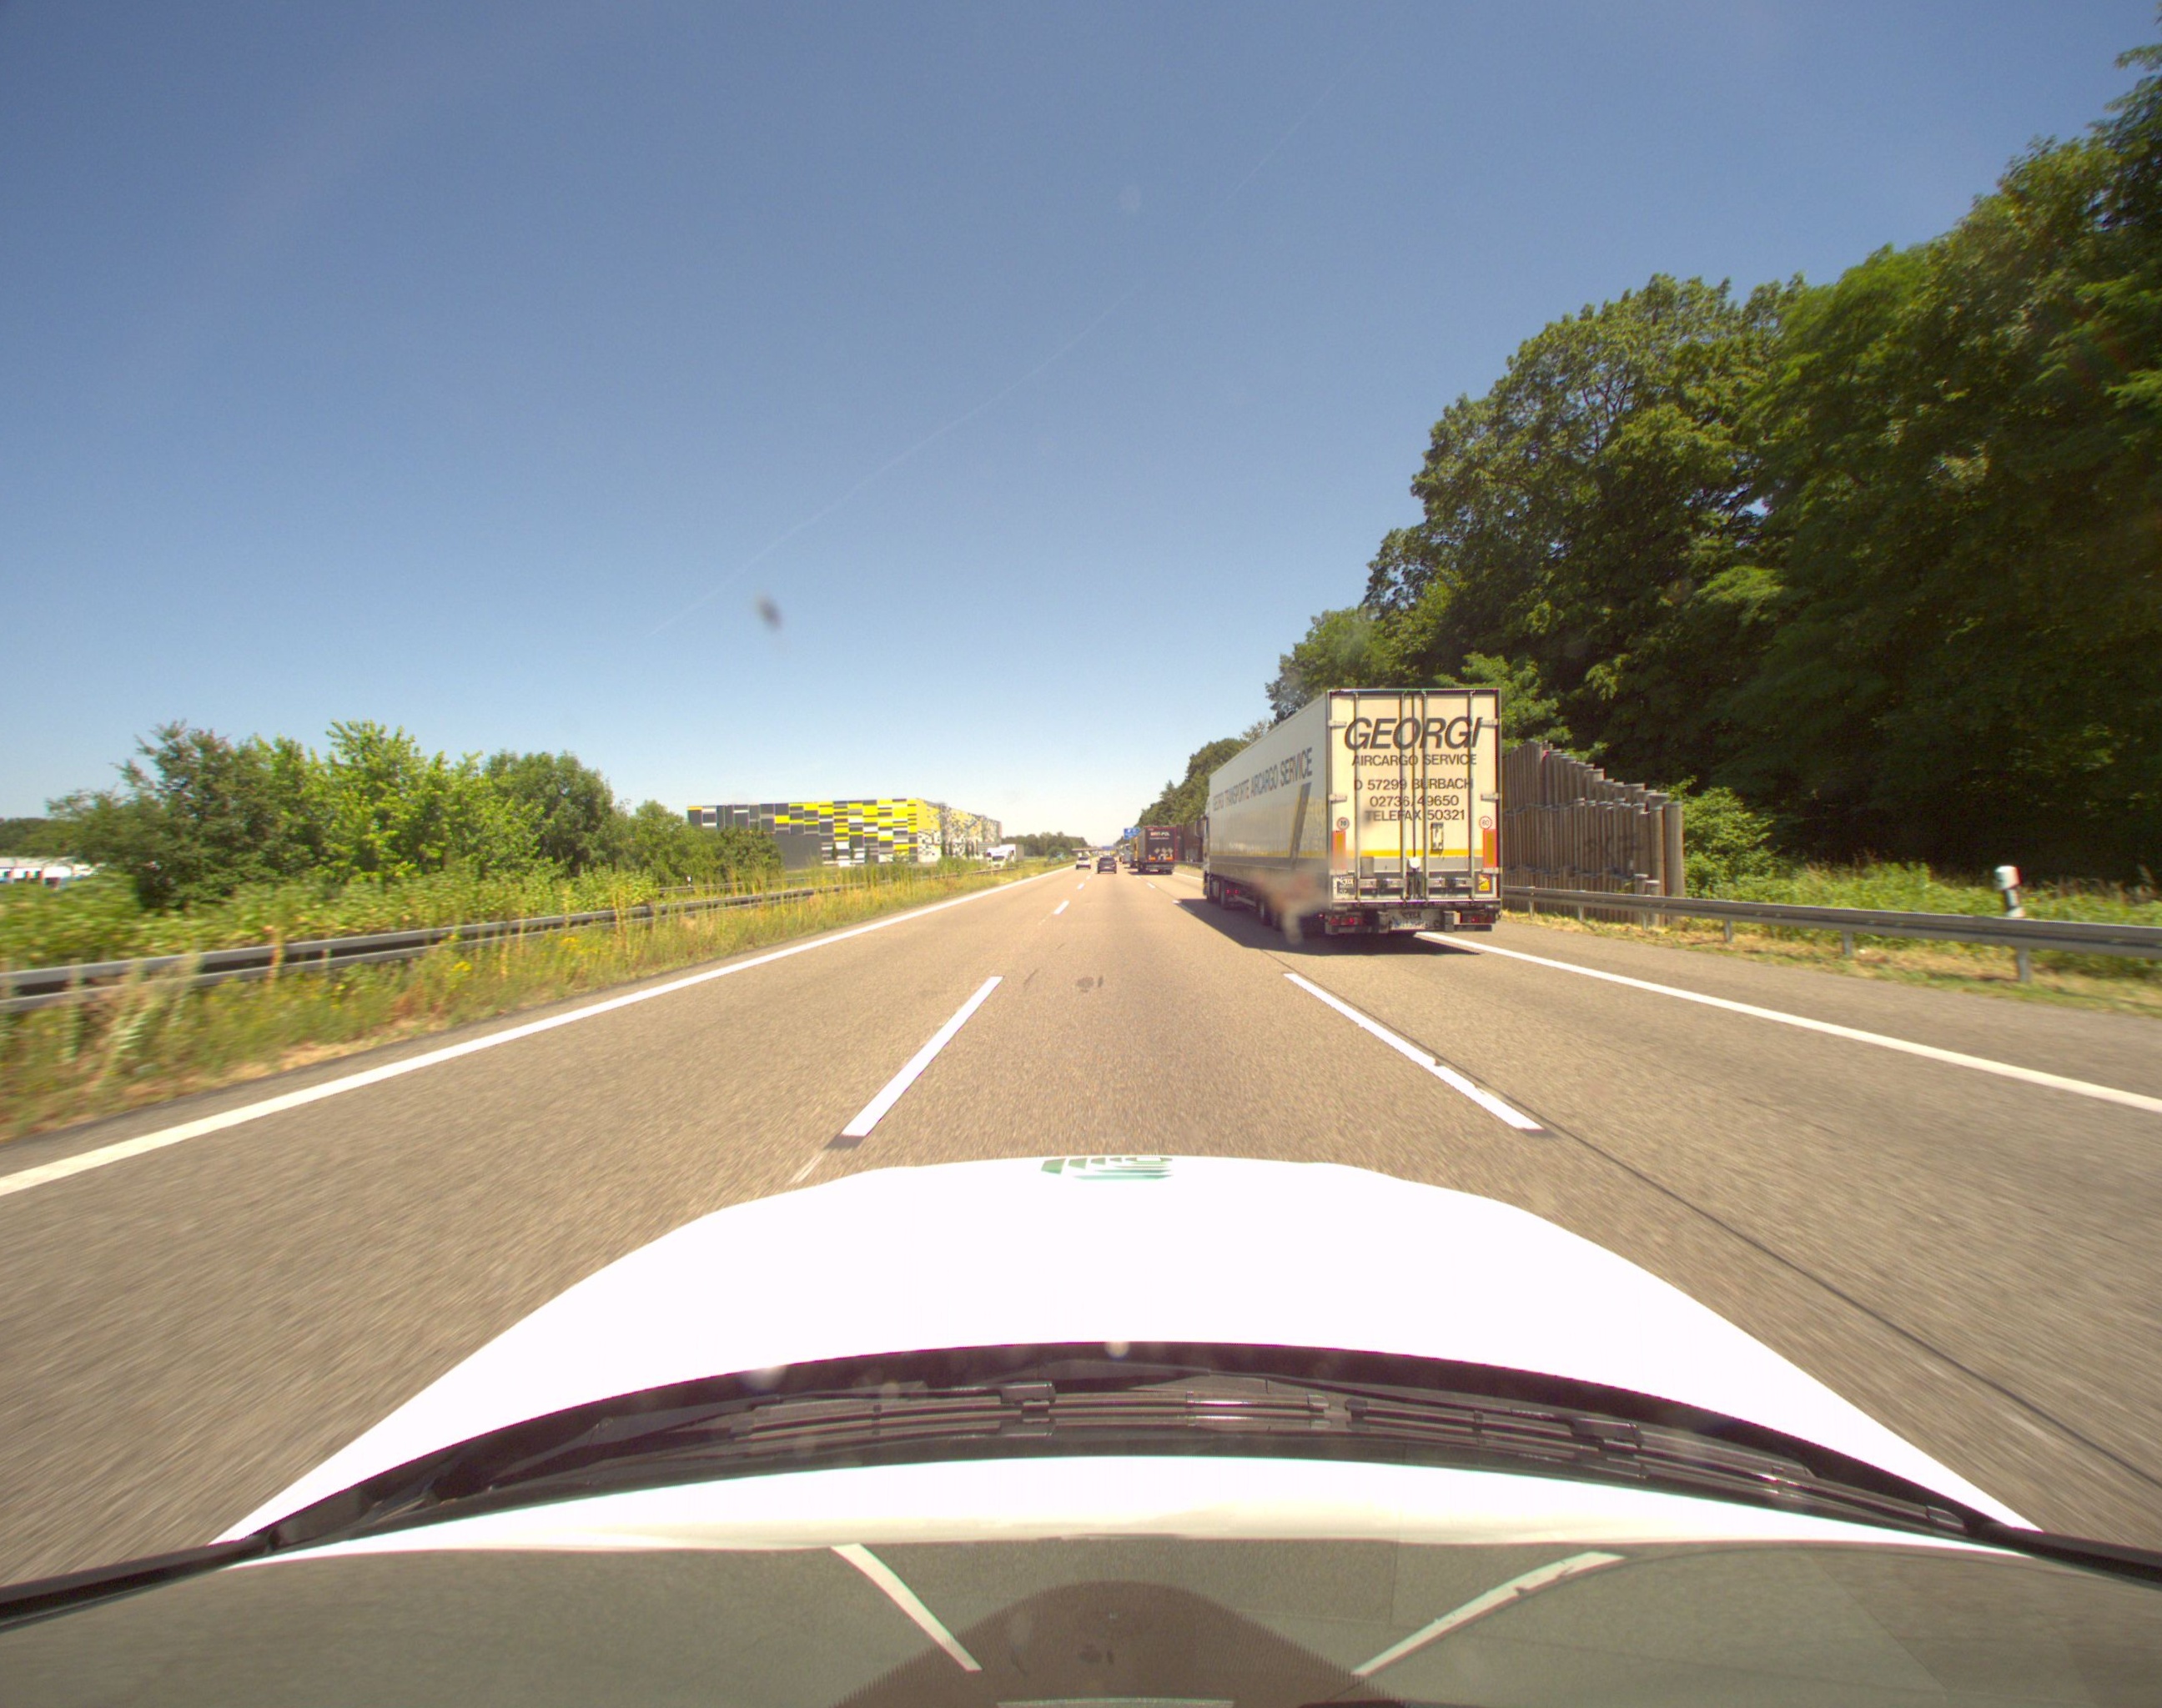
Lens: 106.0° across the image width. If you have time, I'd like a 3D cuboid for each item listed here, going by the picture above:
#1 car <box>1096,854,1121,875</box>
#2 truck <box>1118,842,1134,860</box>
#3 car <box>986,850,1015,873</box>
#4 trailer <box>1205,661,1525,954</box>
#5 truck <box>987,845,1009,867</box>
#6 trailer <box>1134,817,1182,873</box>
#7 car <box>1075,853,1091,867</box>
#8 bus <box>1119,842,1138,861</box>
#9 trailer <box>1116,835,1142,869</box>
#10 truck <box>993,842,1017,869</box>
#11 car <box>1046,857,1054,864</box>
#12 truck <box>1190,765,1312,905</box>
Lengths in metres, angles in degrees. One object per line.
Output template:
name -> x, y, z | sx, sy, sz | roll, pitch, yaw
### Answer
car -> 2.532, 0.932, 75.565 | 2.208, 1.790, 5.395 | -2, 0, 1
truck -> 10.554, -0.654, 192.163 | 3.409, 4.126, 9.570 | -2, 0, 3
car -> -10.803, 0.969, 109.870 | 2.536, 2.982, 8.092 | -2, 0, 3
trailer -> 5.189, -0.660, 18.664 | 2.982, 4.289, 13.422 | 0, 0, 2
truck -> -15.820, 0.405, 156.017 | 2.639, 3.884, 10.831 | -4, 0, 2
trailer -> 6.666, -0.668, 72.994 | 3.095, 4.507, 14.898 | -1, 0, 1
car -> 0.286, 0.715, 101.063 | 1.987, 1.728, 4.131 | -1, 0, 1
bus -> 8.797, -0.361, 151.026 | 3.052, 3.326, 8.273 | -2, 0, 0
trailer -> 6.005, -0.223, 102.622 | 2.824, 3.953, 11.687 | -1, 0, 1
truck -> -13.109, 0.239, 140.696 | 3.149, 4.426, 6.983 | -2, -1, 2
car -> -9.299, 1.999, 245.792 | 1.986, 1.680, 5.554 | -3, -2, 2
truck -> 5.394, -0.548, 26.781 | 2.991, 4.125, 5.254 | -1, -1, 1
